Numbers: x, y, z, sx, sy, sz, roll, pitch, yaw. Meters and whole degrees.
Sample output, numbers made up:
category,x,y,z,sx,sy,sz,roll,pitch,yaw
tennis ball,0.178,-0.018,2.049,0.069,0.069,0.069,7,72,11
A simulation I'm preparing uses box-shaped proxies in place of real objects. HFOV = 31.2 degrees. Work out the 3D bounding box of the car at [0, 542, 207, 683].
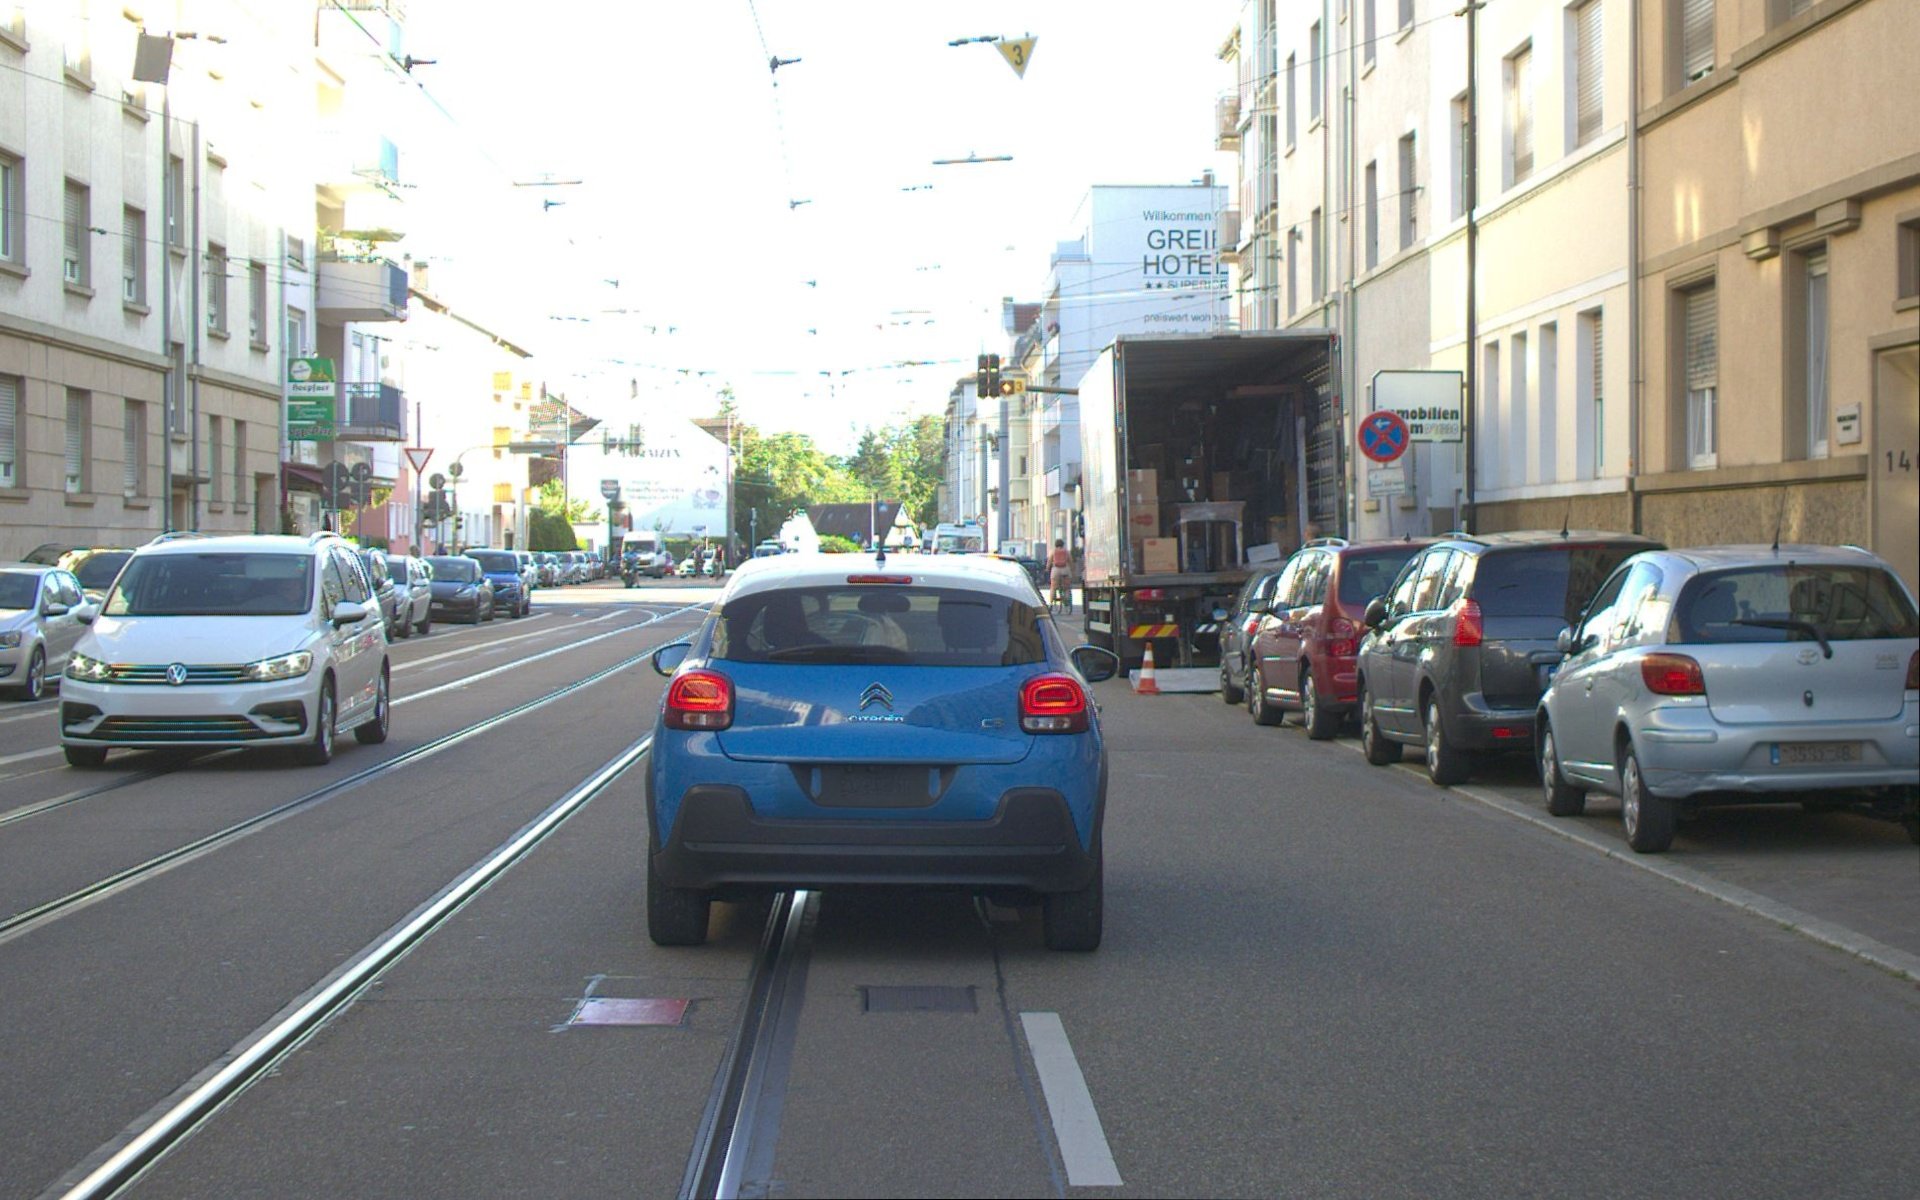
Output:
category,x,y,z,sx,sy,sz,roll,pitch,yaw
car,-10.407,0.109,41.552,1.714,1.588,4.267,-1,1,-1

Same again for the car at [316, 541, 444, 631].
category,x,y,z,sx,sy,sz,roll,pitch,yaw
car,-10.886,-0.296,64.755,1.826,1.626,3.905,-1,1,-1

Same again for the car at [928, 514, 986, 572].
category,x,y,z,sx,sy,sz,roll,pitch,yaw
car,-0.135,-2.276,136.919,2.220,2.276,4.084,-1,1,-1

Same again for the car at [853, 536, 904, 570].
category,x,y,z,sx,sy,sz,roll,pitch,yaw
car,-3.536,-2.073,150.524,2.180,1.481,4.160,-1,1,-1

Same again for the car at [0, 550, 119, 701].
category,x,y,z,sx,sy,sz,roll,pitch,yaw
car,-10.352,0.238,36.863,1.714,1.512,4.048,-1,1,-1

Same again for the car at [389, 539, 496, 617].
category,x,y,z,sx,sy,sz,roll,pitch,yaw
car,-11.244,-0.502,74.902,1.826,1.626,3.905,-1,1,-1

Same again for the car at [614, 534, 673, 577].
category,x,y,z,sx,sy,sz,roll,pitch,yaw
car,-12.180,-1.731,132.486,1.901,1.626,4.267,-1,1,-1

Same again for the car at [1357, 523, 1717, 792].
category,x,y,z,sx,sy,sz,roll,pitch,yaw
car,3.797,0.313,23.273,1.664,1.641,4.222,-1,1,-1

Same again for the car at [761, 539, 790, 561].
category,x,y,z,sx,sy,sz,roll,pitch,yaw
car,-12.677,-3.471,236.323,1.765,1.481,4.032,-1,1,-1

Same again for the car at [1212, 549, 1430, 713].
category,x,y,z,sx,sy,sz,roll,pitch,yaw
car,3.483,0.260,33.771,1.664,1.481,4.032,-1,1,-1

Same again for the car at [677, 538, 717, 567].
category,x,y,z,sx,sy,sz,roll,pitch,yaw
car,-13.520,-2.453,176.930,1.765,1.481,4.032,-1,1,-1

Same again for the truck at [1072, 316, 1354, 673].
category,x,y,z,sx,sy,sz,roll,pitch,yaw
truck,3.085,-1.314,45.034,2.853,4.069,11.271,-1,1,0

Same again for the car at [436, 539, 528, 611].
category,x,y,z,sx,sy,sz,roll,pitch,yaw
car,-11.261,-0.611,81.172,1.825,1.626,3.906,-1,1,-3

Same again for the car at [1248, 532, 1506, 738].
category,x,y,z,sx,sy,sz,roll,pitch,yaw
car,3.481,0.242,29.290,1.664,1.627,3.871,-1,1,-1

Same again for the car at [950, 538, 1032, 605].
category,x,y,z,sx,sy,sz,roll,pitch,yaw
car,0.683,-0.670,78.227,1.765,1.481,4.032,-1,1,-1

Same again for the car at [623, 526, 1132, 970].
category,x,y,z,sx,sy,sz,roll,pitch,yaw
car,-0.319,0.476,13.995,1.735,1.502,3.993,2,1,-1

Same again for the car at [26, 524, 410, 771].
category,x,y,z,sx,sy,sz,roll,pitch,yaw
car,-5.268,0.277,24.979,1.901,1.626,4.267,-1,1,-1

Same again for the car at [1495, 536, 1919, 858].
category,x,y,z,sx,sy,sz,roll,pitch,yaw
car,4.061,0.423,18.432,1.664,1.514,4.222,-1,1,-1

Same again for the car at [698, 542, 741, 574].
category,x,y,z,sx,sy,sz,roll,pitch,yaw
car,-11.225,-1.967,160.741,1.765,1.481,4.032,-1,1,-1

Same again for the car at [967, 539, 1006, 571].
category,x,y,z,sx,sy,sz,roll,pitch,yaw
car,1.268,-2.175,166.158,1.765,1.481,4.032,-1,1,-1
